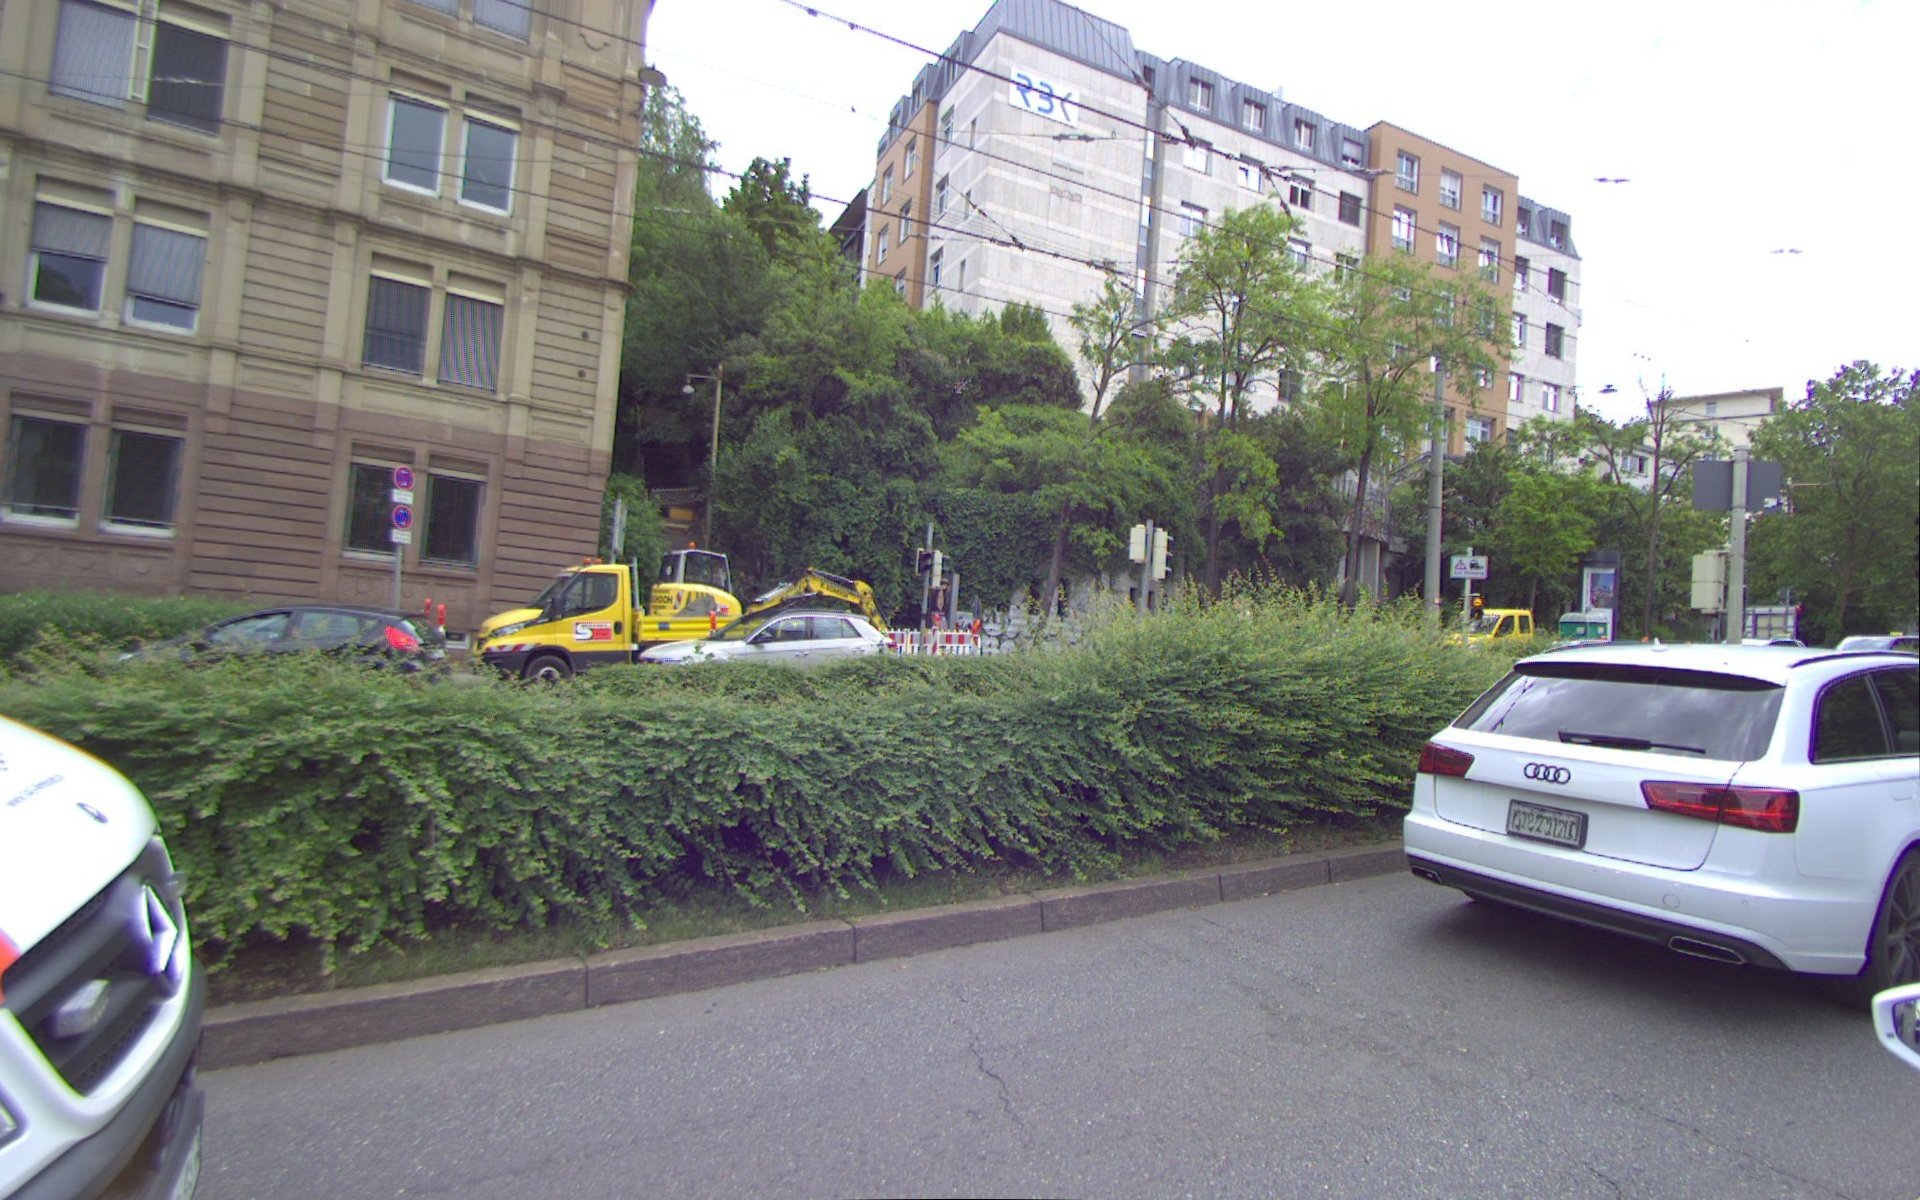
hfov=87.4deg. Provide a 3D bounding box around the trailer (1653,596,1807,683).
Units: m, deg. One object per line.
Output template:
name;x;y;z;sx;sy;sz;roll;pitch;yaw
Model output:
trailer;28.624;1.458;37.332;5.509;3.012;2.015;2;0;-23

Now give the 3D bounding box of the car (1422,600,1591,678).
car;19.623;1.435;36.005;6.254;2.628;2.149;2;-2;-27

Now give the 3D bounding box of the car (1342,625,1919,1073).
car;4.332;0.932;5.331;4.563;1.474;1.870;2;-2;-30

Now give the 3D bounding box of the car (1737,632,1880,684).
car;28.589;1.953;33.843;4.557;1.626;1.988;2;-2;-25

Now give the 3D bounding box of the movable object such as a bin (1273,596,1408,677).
movable object such as a bin;12.559;1.188;33.150;4.044;2.500;1.926;2;0;-27

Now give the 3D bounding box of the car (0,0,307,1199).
car;-3.790;0.207;0.335;5.785;2.735;2.024;2;-1;-30

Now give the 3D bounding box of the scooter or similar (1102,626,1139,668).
scooter or similar;5.037;1.464;31.487;1.282;1.307;0.423;2;-2;-41

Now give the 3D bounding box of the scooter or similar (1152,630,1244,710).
scooter or similar;4.140;1.201;17.487;1.471;1.313;0.532;0;-2;30

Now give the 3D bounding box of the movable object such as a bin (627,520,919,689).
movable object such as a bin;-4.401;0.229;24.545;6.499;3.595;2.722;2;-2;-41

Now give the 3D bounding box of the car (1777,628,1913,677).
car;31.321;1.858;35.537;4.547;1.626;1.988;2;-2;-25

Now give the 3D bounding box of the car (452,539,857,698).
car;-5.431;0.422;18.461;6.685;2.468;2.425;3;-1;-34

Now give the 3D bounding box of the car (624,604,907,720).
car;-2.959;0.935;15.612;3.960;1.587;1.692;2;-2;-35

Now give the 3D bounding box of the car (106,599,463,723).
car;-8.663;0.776;13.221;3.506;1.473;1.645;1;-1;-15
